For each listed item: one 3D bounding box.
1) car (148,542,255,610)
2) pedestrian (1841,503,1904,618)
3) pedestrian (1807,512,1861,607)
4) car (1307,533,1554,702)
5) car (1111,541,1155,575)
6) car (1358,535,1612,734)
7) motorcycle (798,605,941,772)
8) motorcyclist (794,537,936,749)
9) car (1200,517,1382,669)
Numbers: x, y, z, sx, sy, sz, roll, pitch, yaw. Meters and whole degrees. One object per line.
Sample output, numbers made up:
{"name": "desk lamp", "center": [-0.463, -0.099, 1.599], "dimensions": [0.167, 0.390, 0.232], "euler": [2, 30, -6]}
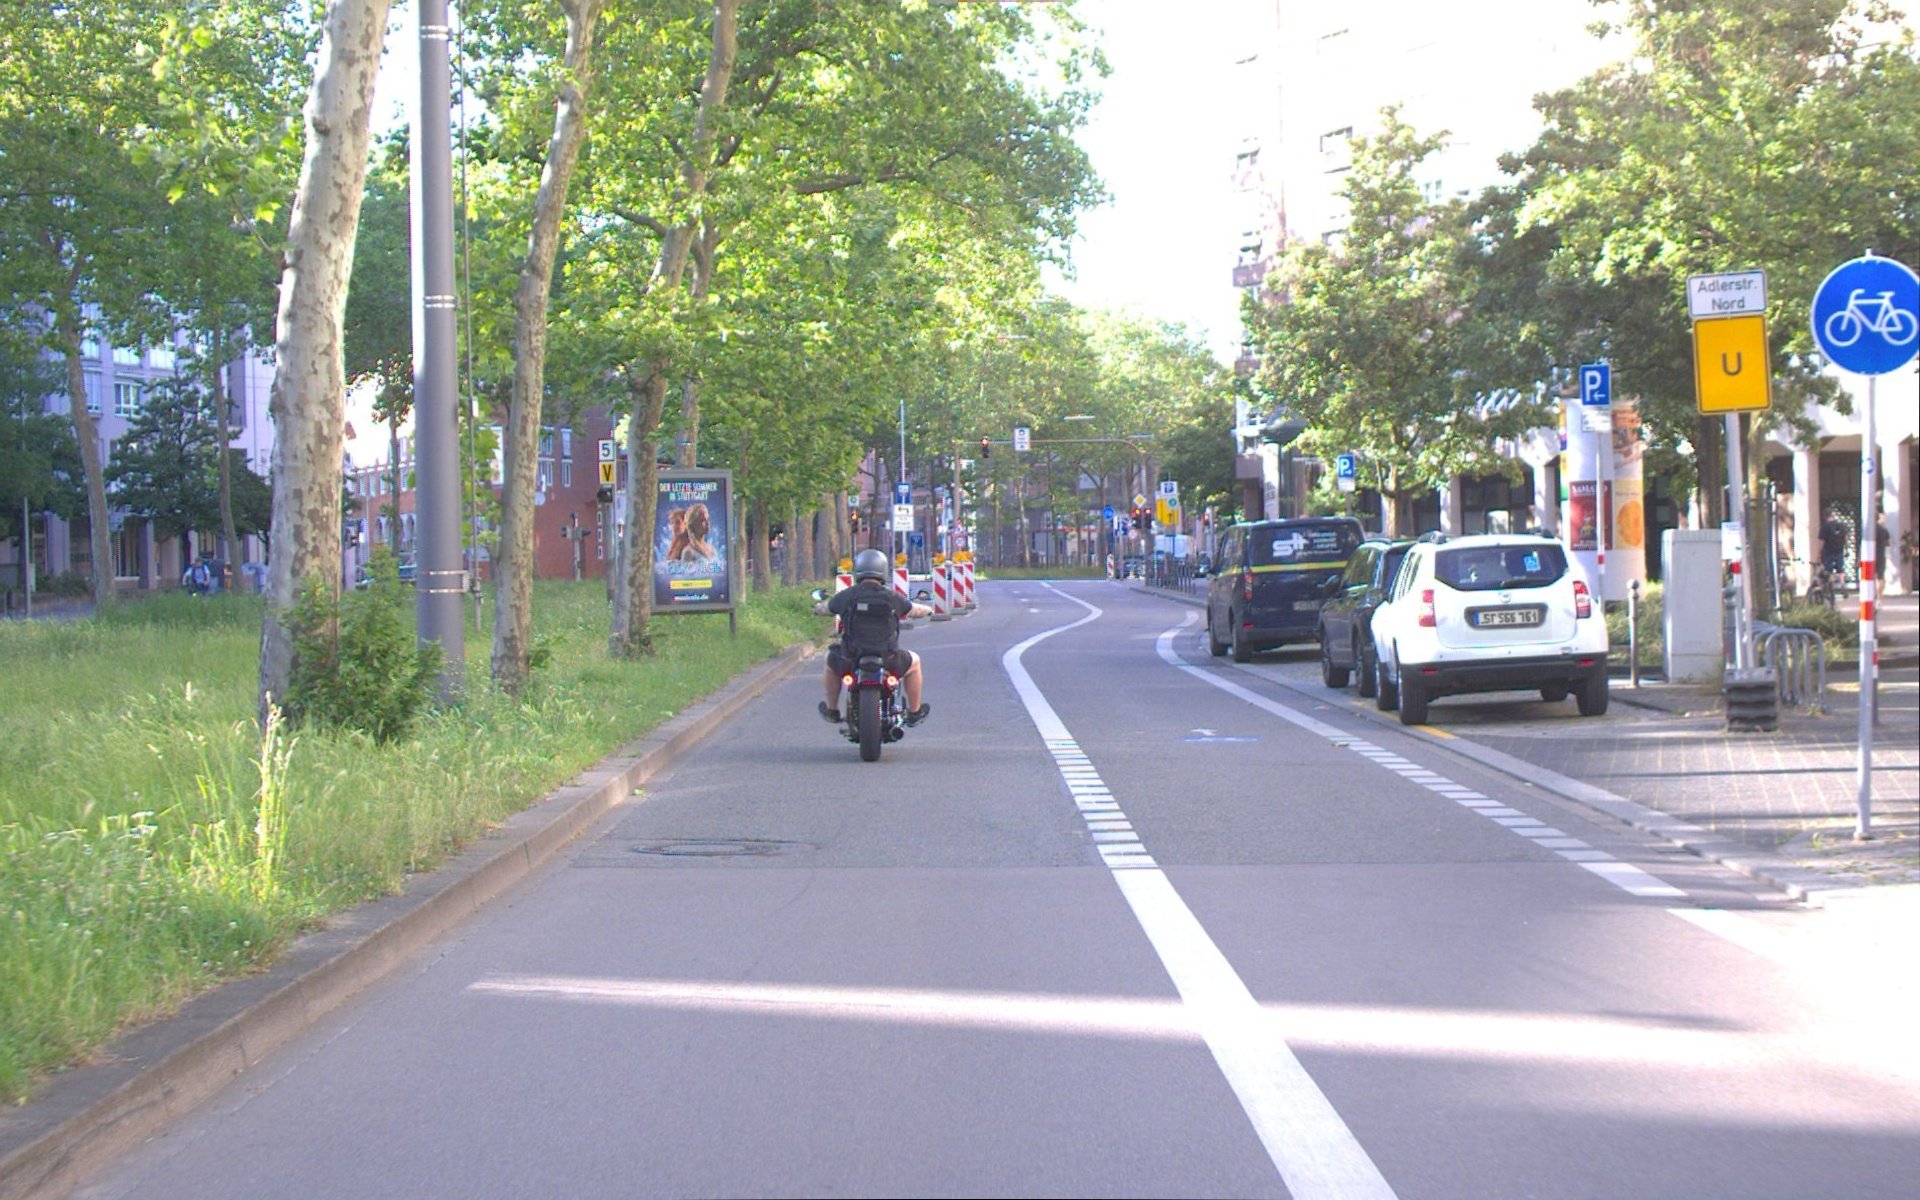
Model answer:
{"name": "car", "center": [-19.874, -0.648, 90.211], "dimensions": [1.900, 1.681, 4.000], "euler": [-1, 1, -1]}
{"name": "pedestrian", "center": [16.145, -0.705, 60.846], "dimensions": [0.866, 2.007, 0.882], "euler": [-1, 1, 3]}
{"name": "pedestrian", "center": [17.502, -0.813, 68.839], "dimensions": [0.867, 1.877, 1.058], "euler": [-1, 1, 5]}
{"name": "car", "center": [4.976, 0.152, 36.926], "dimensions": [1.987, 1.623, 4.085], "euler": [-2, 1, -1]}
{"name": "car", "center": [9.038, -2.200, 179.572], "dimensions": [1.994, 1.700, 3.999], "euler": [-1, 1, 7]}
{"name": "car", "center": [4.683, 0.263, 31.144], "dimensions": [1.859, 1.632, 3.867], "euler": [-2, 1, 3]}
{"name": "motorcycle", "center": [-0.723, 0.657, 26.607], "dimensions": [1.005, 1.121, 2.323], "euler": [-2, 2, -3]}
{"name": "motorcyclist", "center": [-0.747, 0.315, 26.611], "dimensions": [1.022, 1.547, 1.287], "euler": [-2, 2, -3]}
{"name": "car", "center": [4.622, -0.132, 48.645], "dimensions": [2.030, 1.970, 4.415], "euler": [-2, 1, -1]}
